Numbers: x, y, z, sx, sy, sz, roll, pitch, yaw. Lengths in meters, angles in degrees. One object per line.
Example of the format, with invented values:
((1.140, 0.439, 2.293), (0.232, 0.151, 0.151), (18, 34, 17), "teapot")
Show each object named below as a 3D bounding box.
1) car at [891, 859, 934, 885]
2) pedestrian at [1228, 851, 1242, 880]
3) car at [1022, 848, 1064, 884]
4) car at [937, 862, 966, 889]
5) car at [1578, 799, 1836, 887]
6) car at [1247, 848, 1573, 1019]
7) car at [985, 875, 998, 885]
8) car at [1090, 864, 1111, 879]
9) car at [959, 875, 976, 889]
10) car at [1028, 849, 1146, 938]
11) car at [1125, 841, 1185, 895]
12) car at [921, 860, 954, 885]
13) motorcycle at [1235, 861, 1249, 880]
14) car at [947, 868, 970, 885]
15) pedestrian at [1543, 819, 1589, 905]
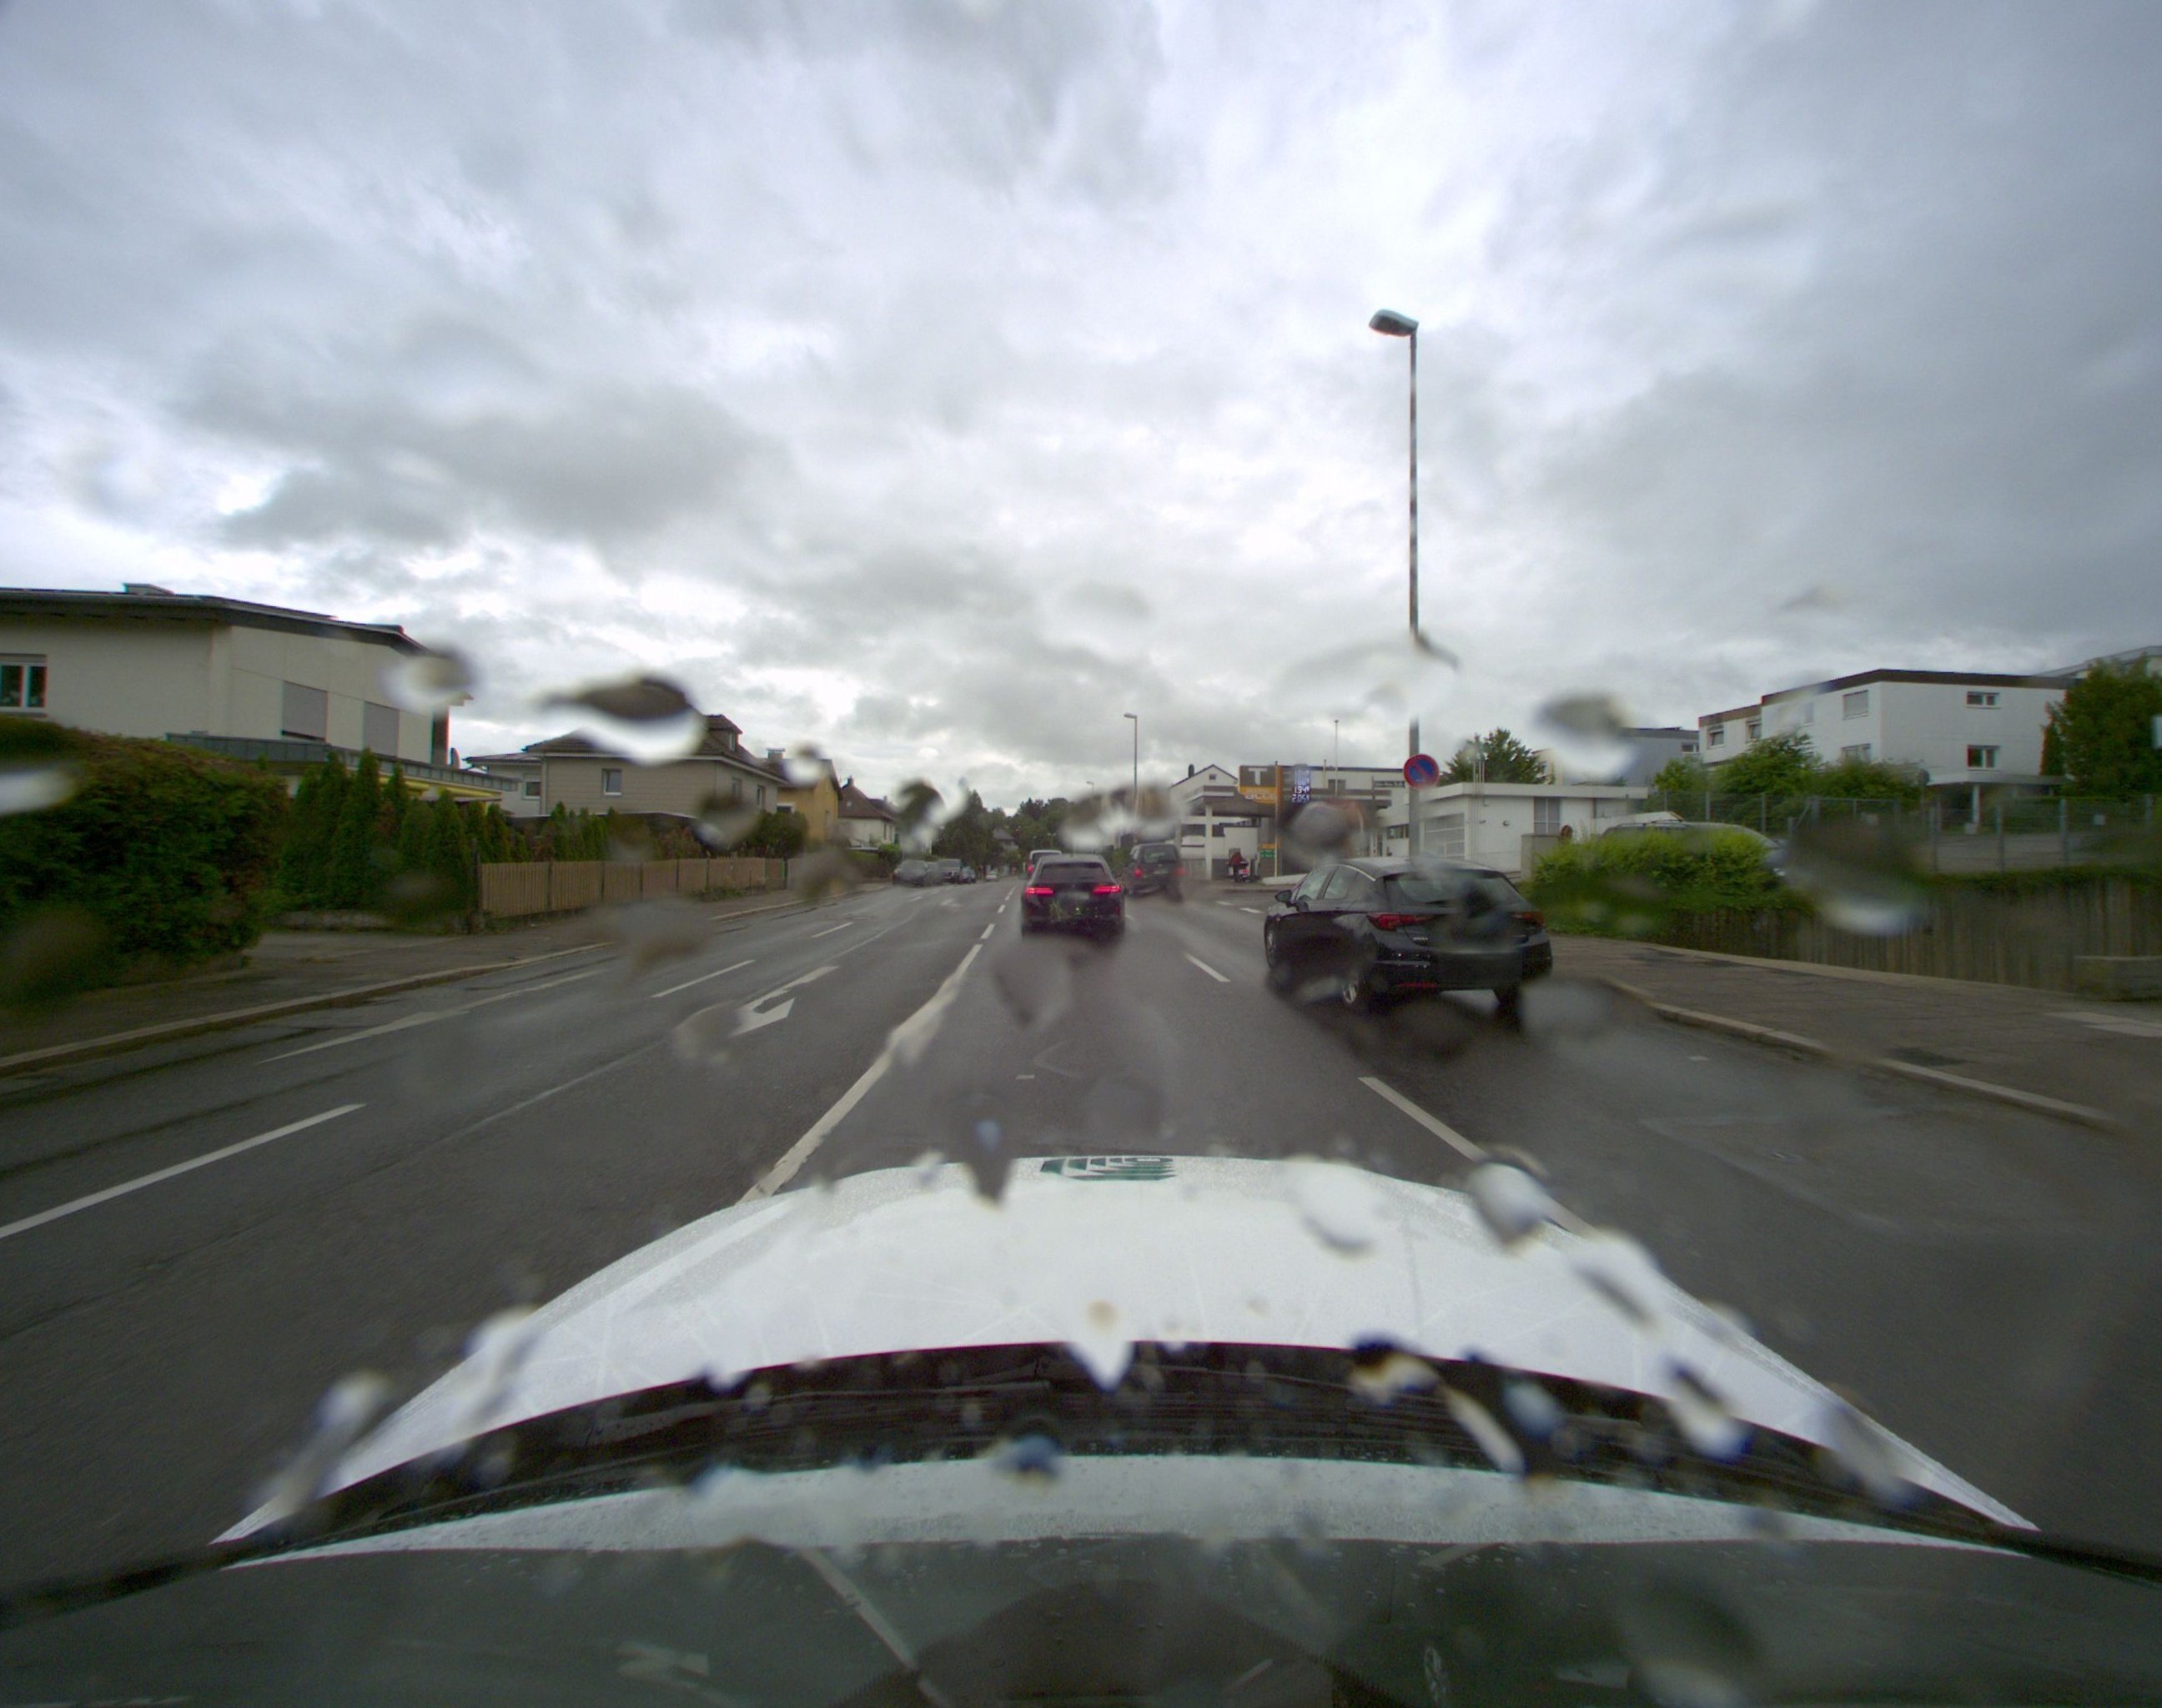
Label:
((-9.527, 1.050, 46.371), (1.746, 1.440, 4.125), (0, -2, -3), "car")
((8.763, 0.652, 46.399), (0.608, 1.656, 0.585), (0, -2, -4), "pedestrian")
((-1.894, 0.646, 41.040), (1.988, 1.738, 3.996), (0, -2, -2), "car")
((-10.003, 1.662, 63.052), (1.910, 2.003, 5.077), (0, -2, -6), "car")
((12.733, -0.149, 16.941), (1.810, 1.527, 3.984), (-4, -1, -11), "car")
((3.259, 0.684, 9.016), (1.753, 1.449, 3.993), (0, 0, -5), "car")
((-14.414, 4.149, 130.908), (1.880, 1.585, 3.995), (0, -2, -3), "car")
((1.896, 1.751, 80.577), (1.697, 1.510, 4.528), (0, -2, -4), "car")
((-11.741, 2.928, 84.586), (1.549, 1.431, 4.006), (0, -2, -6), "car")
((0.008, 0.724, 15.781), (1.989, 1.484, 3.995), (0, -2, -3), "car")
((2.538, 0.535, 28.875), (1.832, 1.767, 4.000), (0, -2, 1), "car")
((-9.274, 1.229, 52.989), (1.748, 1.517, 4.518), (0, -2, -6), "car")
((9.138, 0.954, 46.185), (0.461, 1.055, 1.388), (0, -2, -3), "motorcycle")
((-11.735, 2.171, 78.233), (1.753, 1.533, 4.280), (0, -2, -4), "car")
((11.577, 0.207, 19.468), (0.712, 2.014, 0.615), (-1, -2, 5), "pedestrian")
